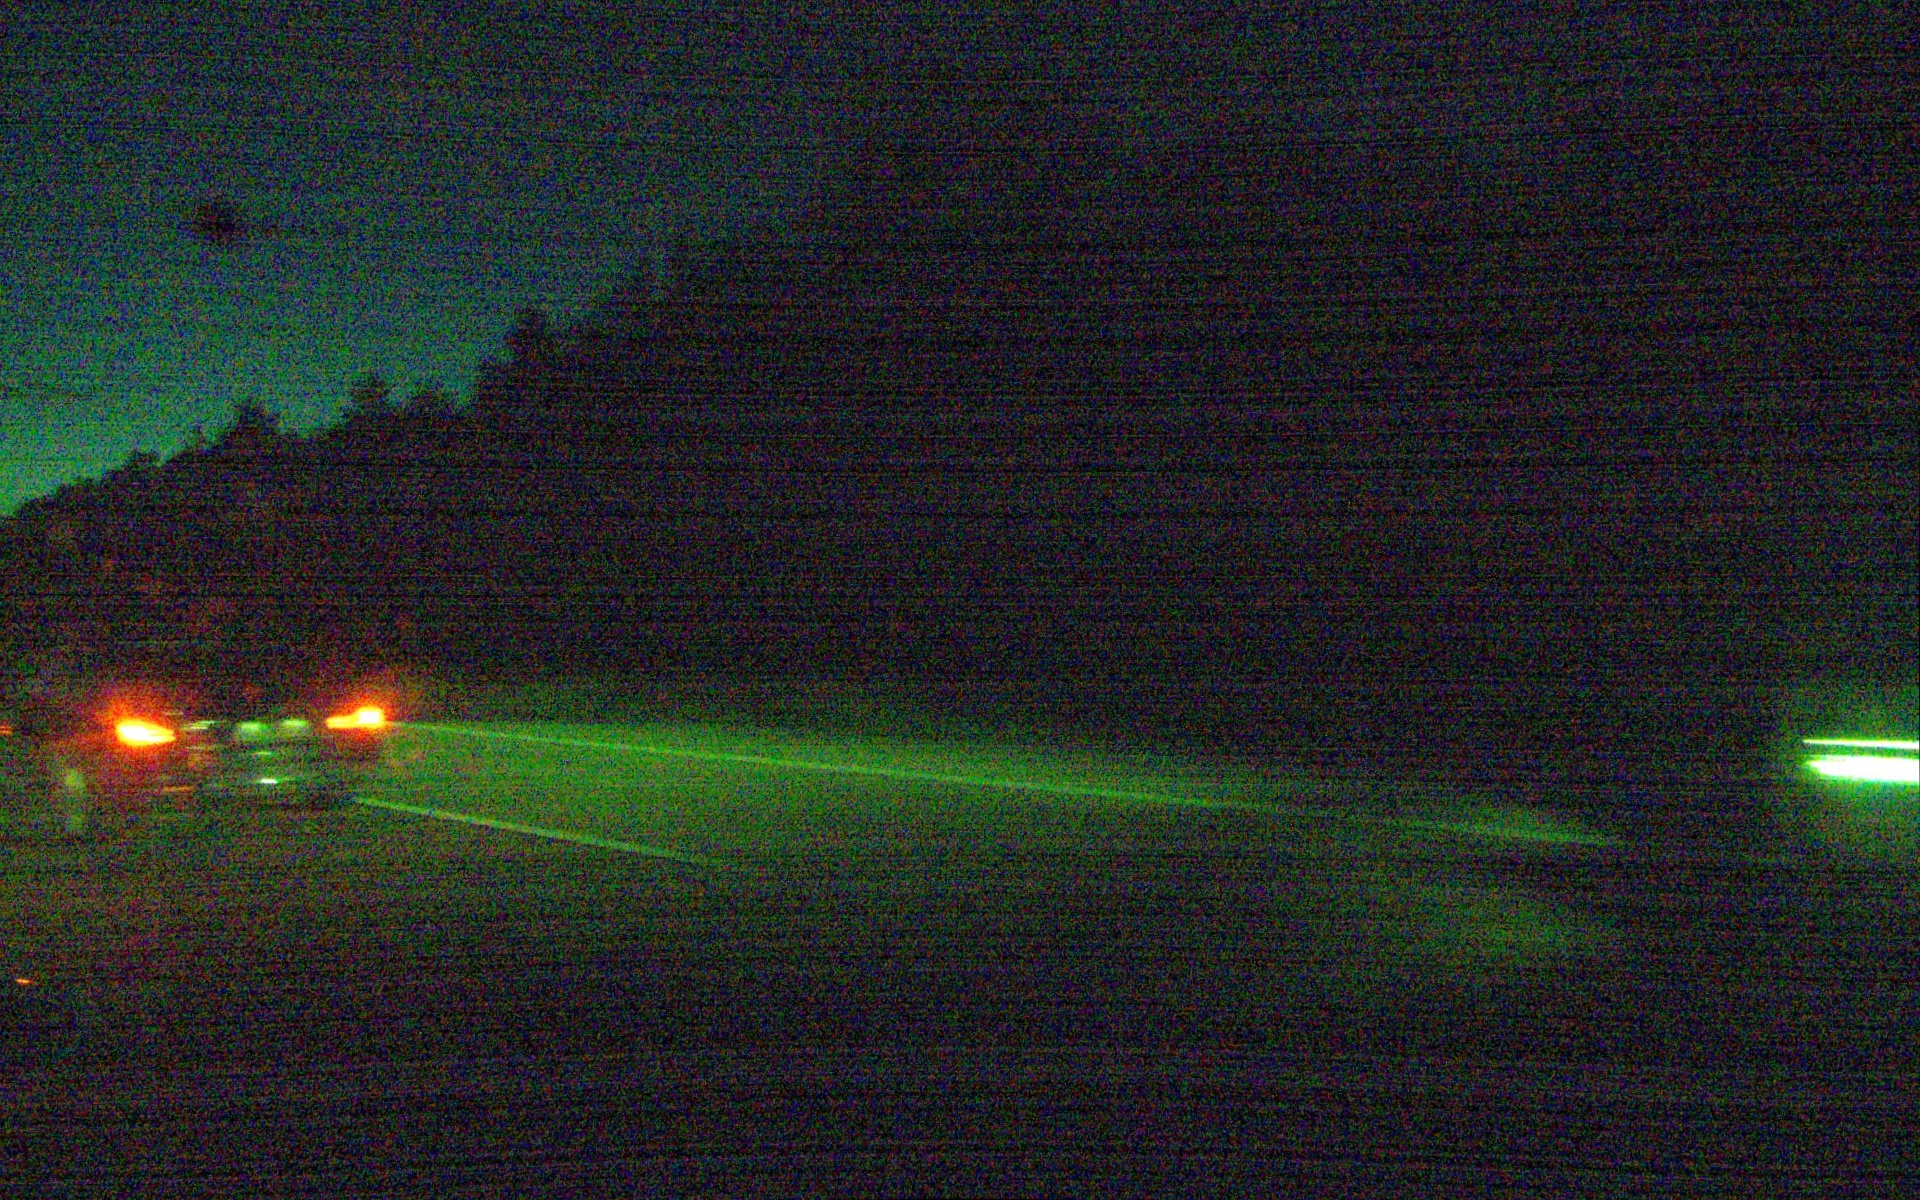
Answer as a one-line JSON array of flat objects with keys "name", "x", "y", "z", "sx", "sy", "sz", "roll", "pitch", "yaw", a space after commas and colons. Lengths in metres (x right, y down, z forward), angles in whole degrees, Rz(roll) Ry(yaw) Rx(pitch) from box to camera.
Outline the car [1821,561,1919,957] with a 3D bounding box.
[{"name": "car", "x": 6.869, "y": 0.682, "z": 3.876, "sx": 5.094, "sy": 1.740, "sz": 1.990, "roll": -1, "pitch": -1, "yaw": 33}]

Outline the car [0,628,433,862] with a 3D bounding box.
[{"name": "car", "x": -6.703, "y": 0.961, "z": 8.313, "sx": 4.995, "sy": 1.419, "sz": 1.832, "roll": -1, "pitch": -1, "yaw": 31}]
